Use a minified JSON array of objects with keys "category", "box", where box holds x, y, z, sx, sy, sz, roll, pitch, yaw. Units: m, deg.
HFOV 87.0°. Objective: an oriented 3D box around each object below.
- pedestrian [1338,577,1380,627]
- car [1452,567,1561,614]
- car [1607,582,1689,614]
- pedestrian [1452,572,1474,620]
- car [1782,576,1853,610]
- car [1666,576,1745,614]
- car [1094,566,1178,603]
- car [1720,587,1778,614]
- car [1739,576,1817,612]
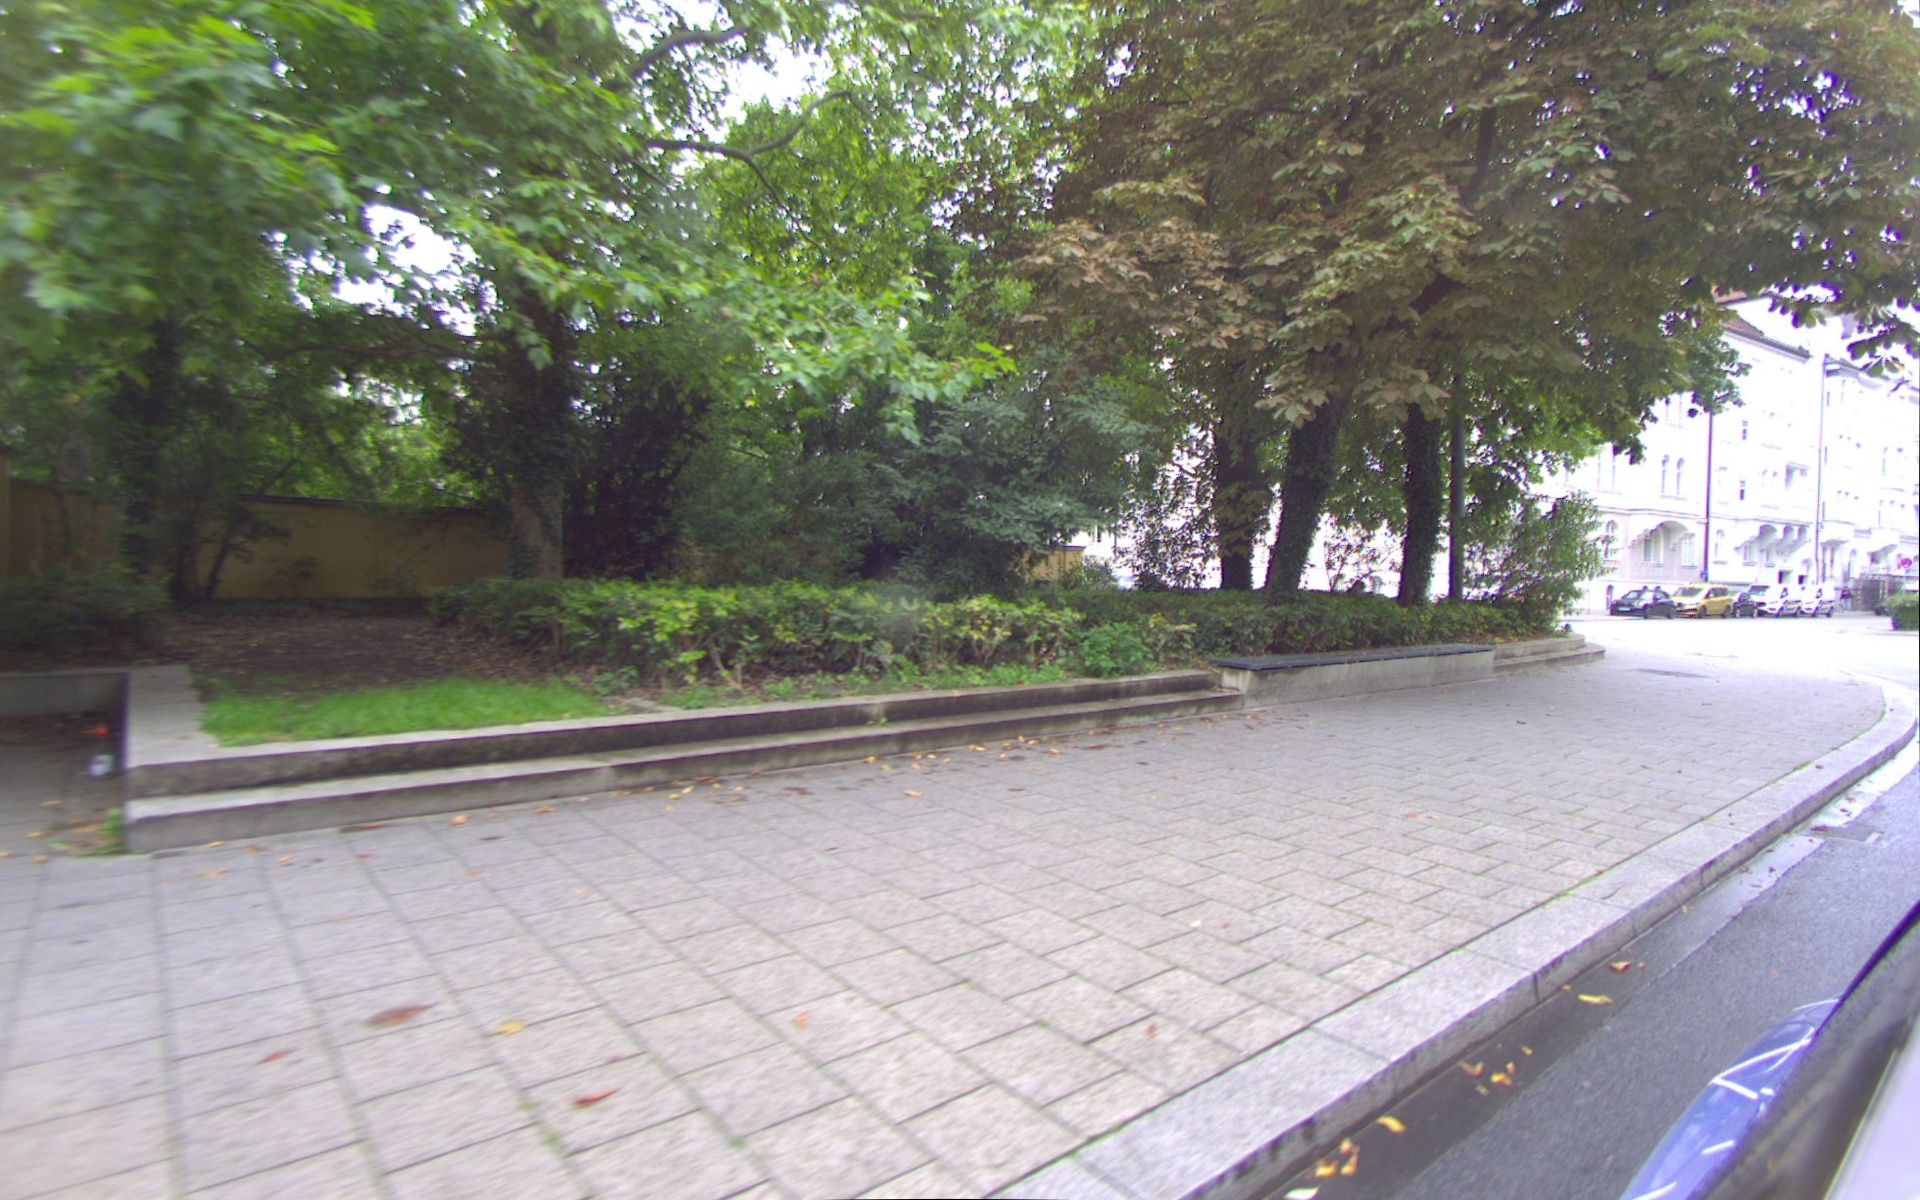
[{"category":"pedestrian","box":[9.724,0.054,24.654,0.730,1.192,0.579,1,1,-31]},{"category":"car","box":[24.097,-0.425,44.557,4.875,1.958,1.954,0,2,-31]},{"category":"car","box":[34.499,-0.120,50.736,3.744,1.437,1.954,-1,3,-31]},{"category":"pedestrian","box":[18.700,-0.156,37.636,0.558,1.790,0.406,0,2,-23]},{"category":"car","box":[53.252,-0.464,62.828,4.487,1.962,2.057,-1,3,-33]},{"category":"car","box":[39.363,-0.285,53.410,4.219,1.841,1.798,-1,3,-31]},{"category":"car","box":[8.319,-0.772,48.135,1.703,1.602,4.005,-1,3,-30]},{"category":"car","box":[44.082,0.016,56.525,3.292,1.375,1.444,-1,3,-31]},{"category":"car","box":[48.044,-0.401,59.422,4.680,1.936,2.161,-1,3,-33]}]
